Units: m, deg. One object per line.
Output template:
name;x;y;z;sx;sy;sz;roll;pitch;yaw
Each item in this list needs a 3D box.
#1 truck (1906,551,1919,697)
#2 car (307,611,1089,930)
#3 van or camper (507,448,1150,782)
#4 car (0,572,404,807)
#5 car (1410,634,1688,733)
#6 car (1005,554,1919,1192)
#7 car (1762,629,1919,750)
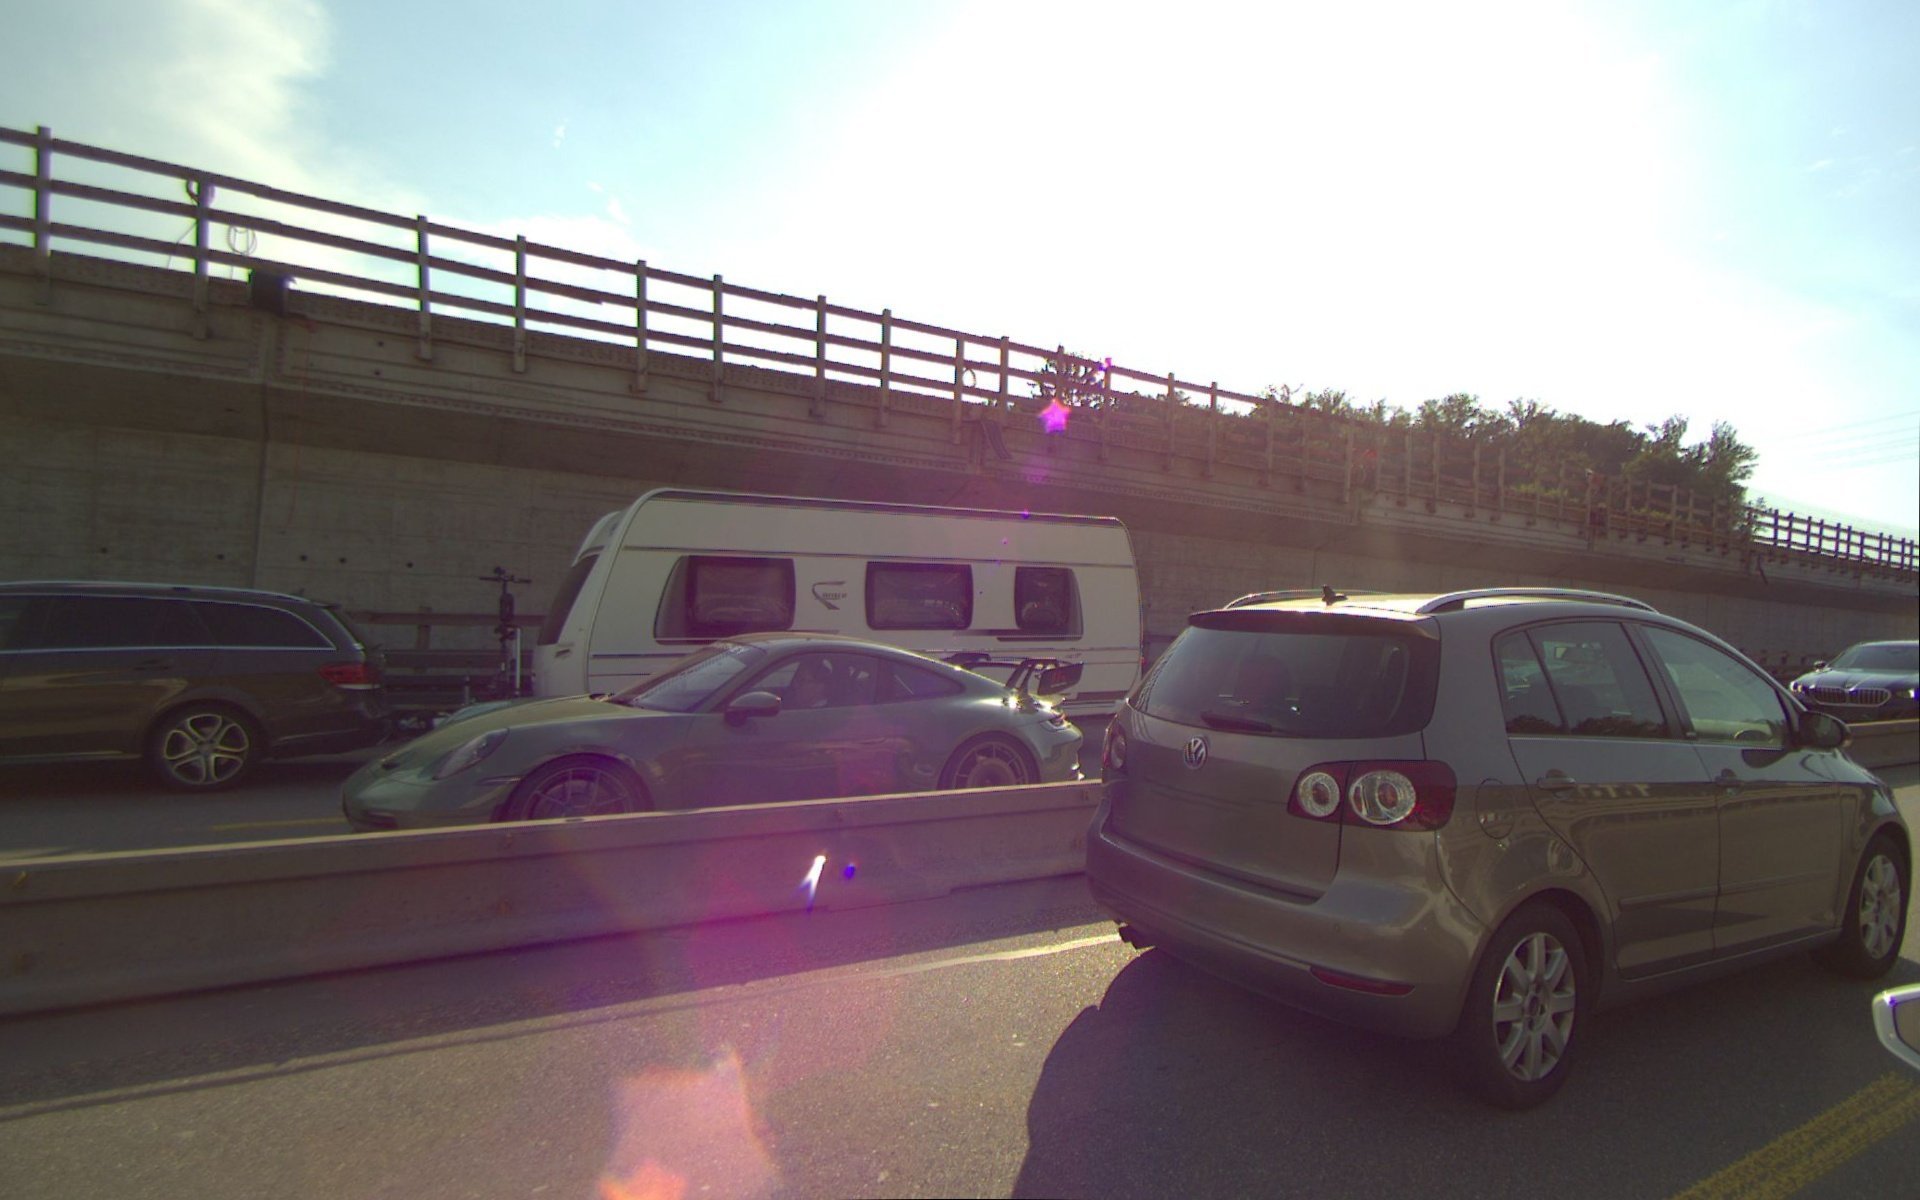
truck;31.879;0.818;30.216;9.520;4.166;2.610;2;-2;-32
car;-1.427;0.816;6.165;4.190;1.342;1.772;2;-1;-31
van or camper;-1.206;0.244;10.708;6.378;2.698;2.301;2;-1;-30
car;-6.780;0.589;7.322;4.727;1.551;1.633;3;-1;-30
car;9.861;1.330;16.723;4.844;1.439;1.962;2;-3;-31
car;2.421;0.746;4.327;4.220;1.609;1.673;1;-1;-30
car;15.222;1.418;16.311;4.813;1.614;1.827;3;1;-31
